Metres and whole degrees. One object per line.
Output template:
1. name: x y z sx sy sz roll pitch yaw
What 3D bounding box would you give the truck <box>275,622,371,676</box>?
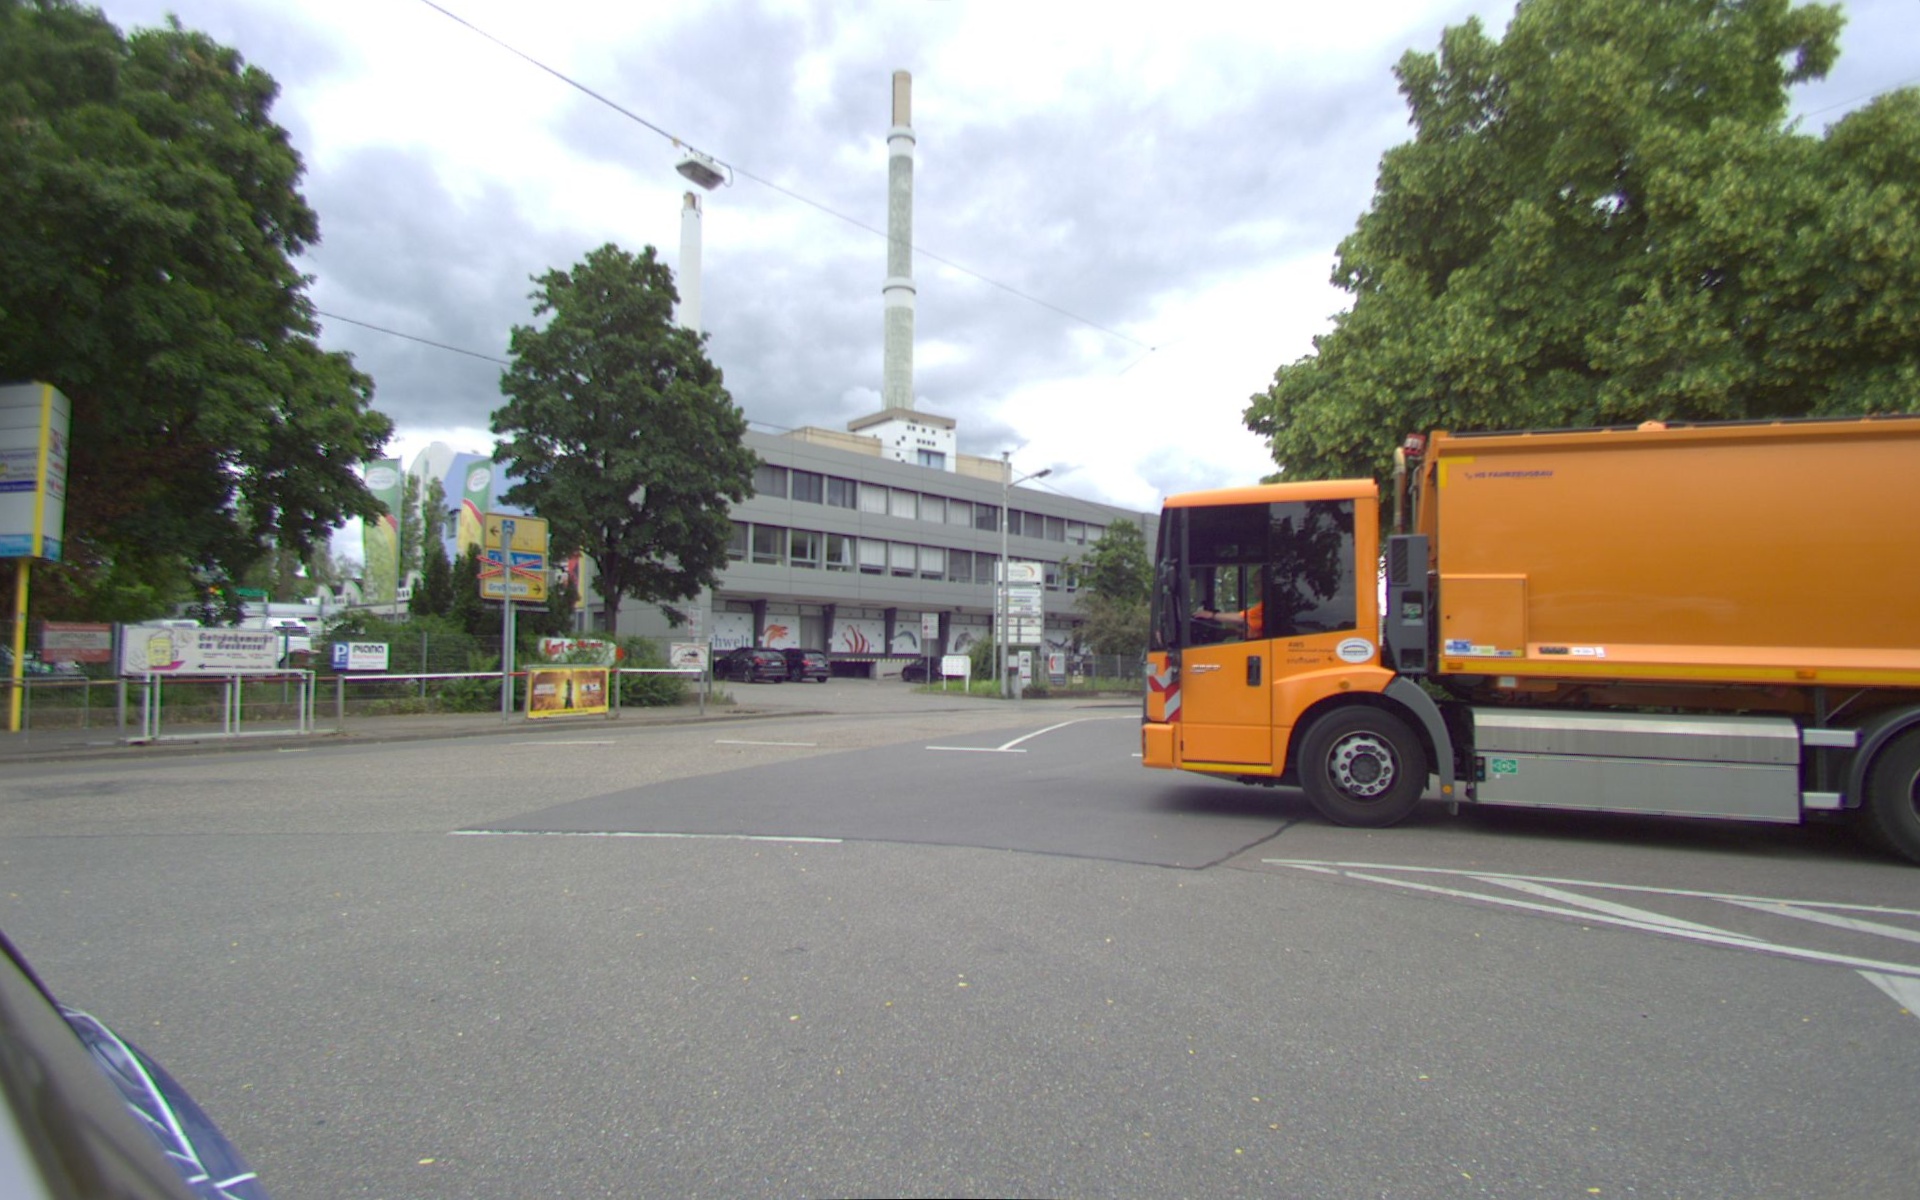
1. truck: -51.890 4.078 82.156 15.855 4.056 2.831 -3 -6 44

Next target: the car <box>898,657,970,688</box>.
1. car: -1.510 3.952 55.480 2.015 1.456 4.844 2 -2 -27

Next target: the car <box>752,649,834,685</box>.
1. car: -8.441 3.353 50.917 4.426 1.630 1.812 -2 -4 45

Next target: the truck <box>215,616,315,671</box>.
1. truck: -54.557 3.546 79.179 15.726 3.964 2.812 -3 -5 43

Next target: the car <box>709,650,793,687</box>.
1. car: -10.155 3.272 48.923 1.811 1.630 4.468 4 -4 -44

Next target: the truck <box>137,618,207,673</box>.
1. truck: -63.867 3.764 81.938 9.190 4.198 2.956 -3 -5 44

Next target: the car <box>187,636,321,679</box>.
1. car: -47.956 3.964 68.927 2.244 2.754 7.051 -3 -6 44

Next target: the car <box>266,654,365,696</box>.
1. car: -20.938 2.418 32.826 3.699 1.258 1.686 -3 -5 41

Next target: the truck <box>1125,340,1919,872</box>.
1. truck: 6.762 0.085 8.123 10.349 3.554 2.777 -2 -3 22
